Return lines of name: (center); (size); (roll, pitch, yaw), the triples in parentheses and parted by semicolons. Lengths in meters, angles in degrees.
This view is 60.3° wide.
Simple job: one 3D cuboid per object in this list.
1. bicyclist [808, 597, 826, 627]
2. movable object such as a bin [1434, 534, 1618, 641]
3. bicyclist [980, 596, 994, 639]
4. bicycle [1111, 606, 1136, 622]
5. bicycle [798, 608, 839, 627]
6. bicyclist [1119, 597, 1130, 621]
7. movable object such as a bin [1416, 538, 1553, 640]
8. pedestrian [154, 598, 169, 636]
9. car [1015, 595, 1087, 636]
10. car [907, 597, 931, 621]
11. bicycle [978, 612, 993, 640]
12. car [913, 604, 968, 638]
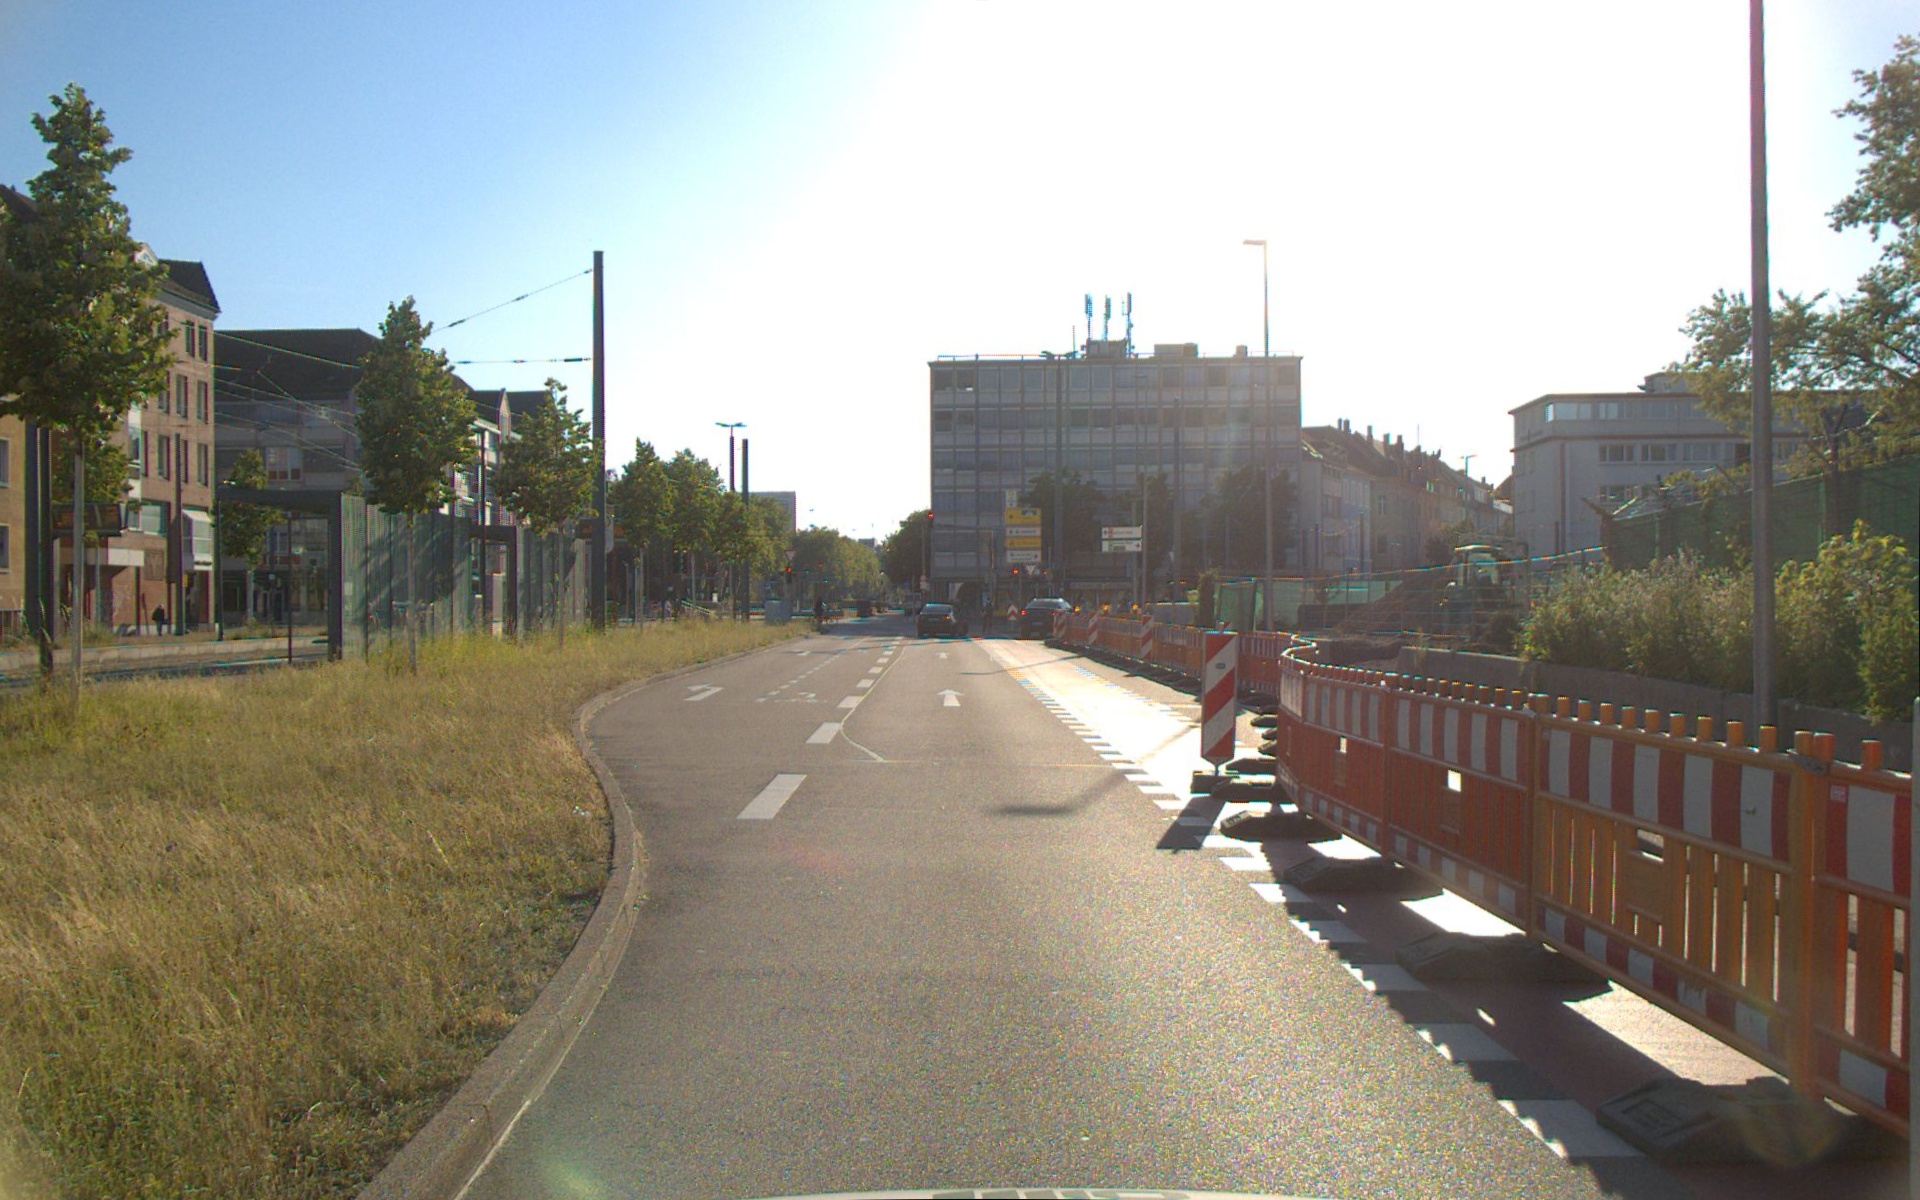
bicyclist: (-7.991, 0.661, 92.588); (0.939, 1.690, 0.691); (0, 0, 2)
movable object such as a bin: (20.024, -0.413, 58.508); (5.939, 3.620, 2.860); (0, 0, 24)
bicyclist: (1.309, 0.842, 79.994); (0.630, 2.048, 1.067); (1, 1, -1)
bicycle: (11.910, 1.012, 120.446); (1.701, 1.078, 0.538); (-1, 0, -12)
bicycle: (-7.917, 0.980, 92.585); (2.180, 1.044, 0.682); (0, 0, 2)
bicyclist: (11.969, 0.669, 120.457); (0.652, 1.742, 0.537); (-1, 0, -11)
movable object such as a bin: (14.912, -0.286, 47.362); (2.230, 2.751, 4.940); (0, 0, -2)
pedestrian: (-39.089, 0.846, 80.954); (0.475, 1.854, 0.548); (0, 0, -4)
car: (4.207, 0.679, 75.842); (1.954, 1.723, 3.998); (1, 1, 24)
car: (-4.460, 1.022, 177.209); (2.436, 2.434, 5.932); (-2, 0, -2)
bicycle: (1.210, 1.258, 79.816); (0.631, 1.244, 2.048); (1, 1, -1)
car: (-0.849, 0.900, 73.372); (1.706, 1.451, 4.003); (0, 0, 10)
